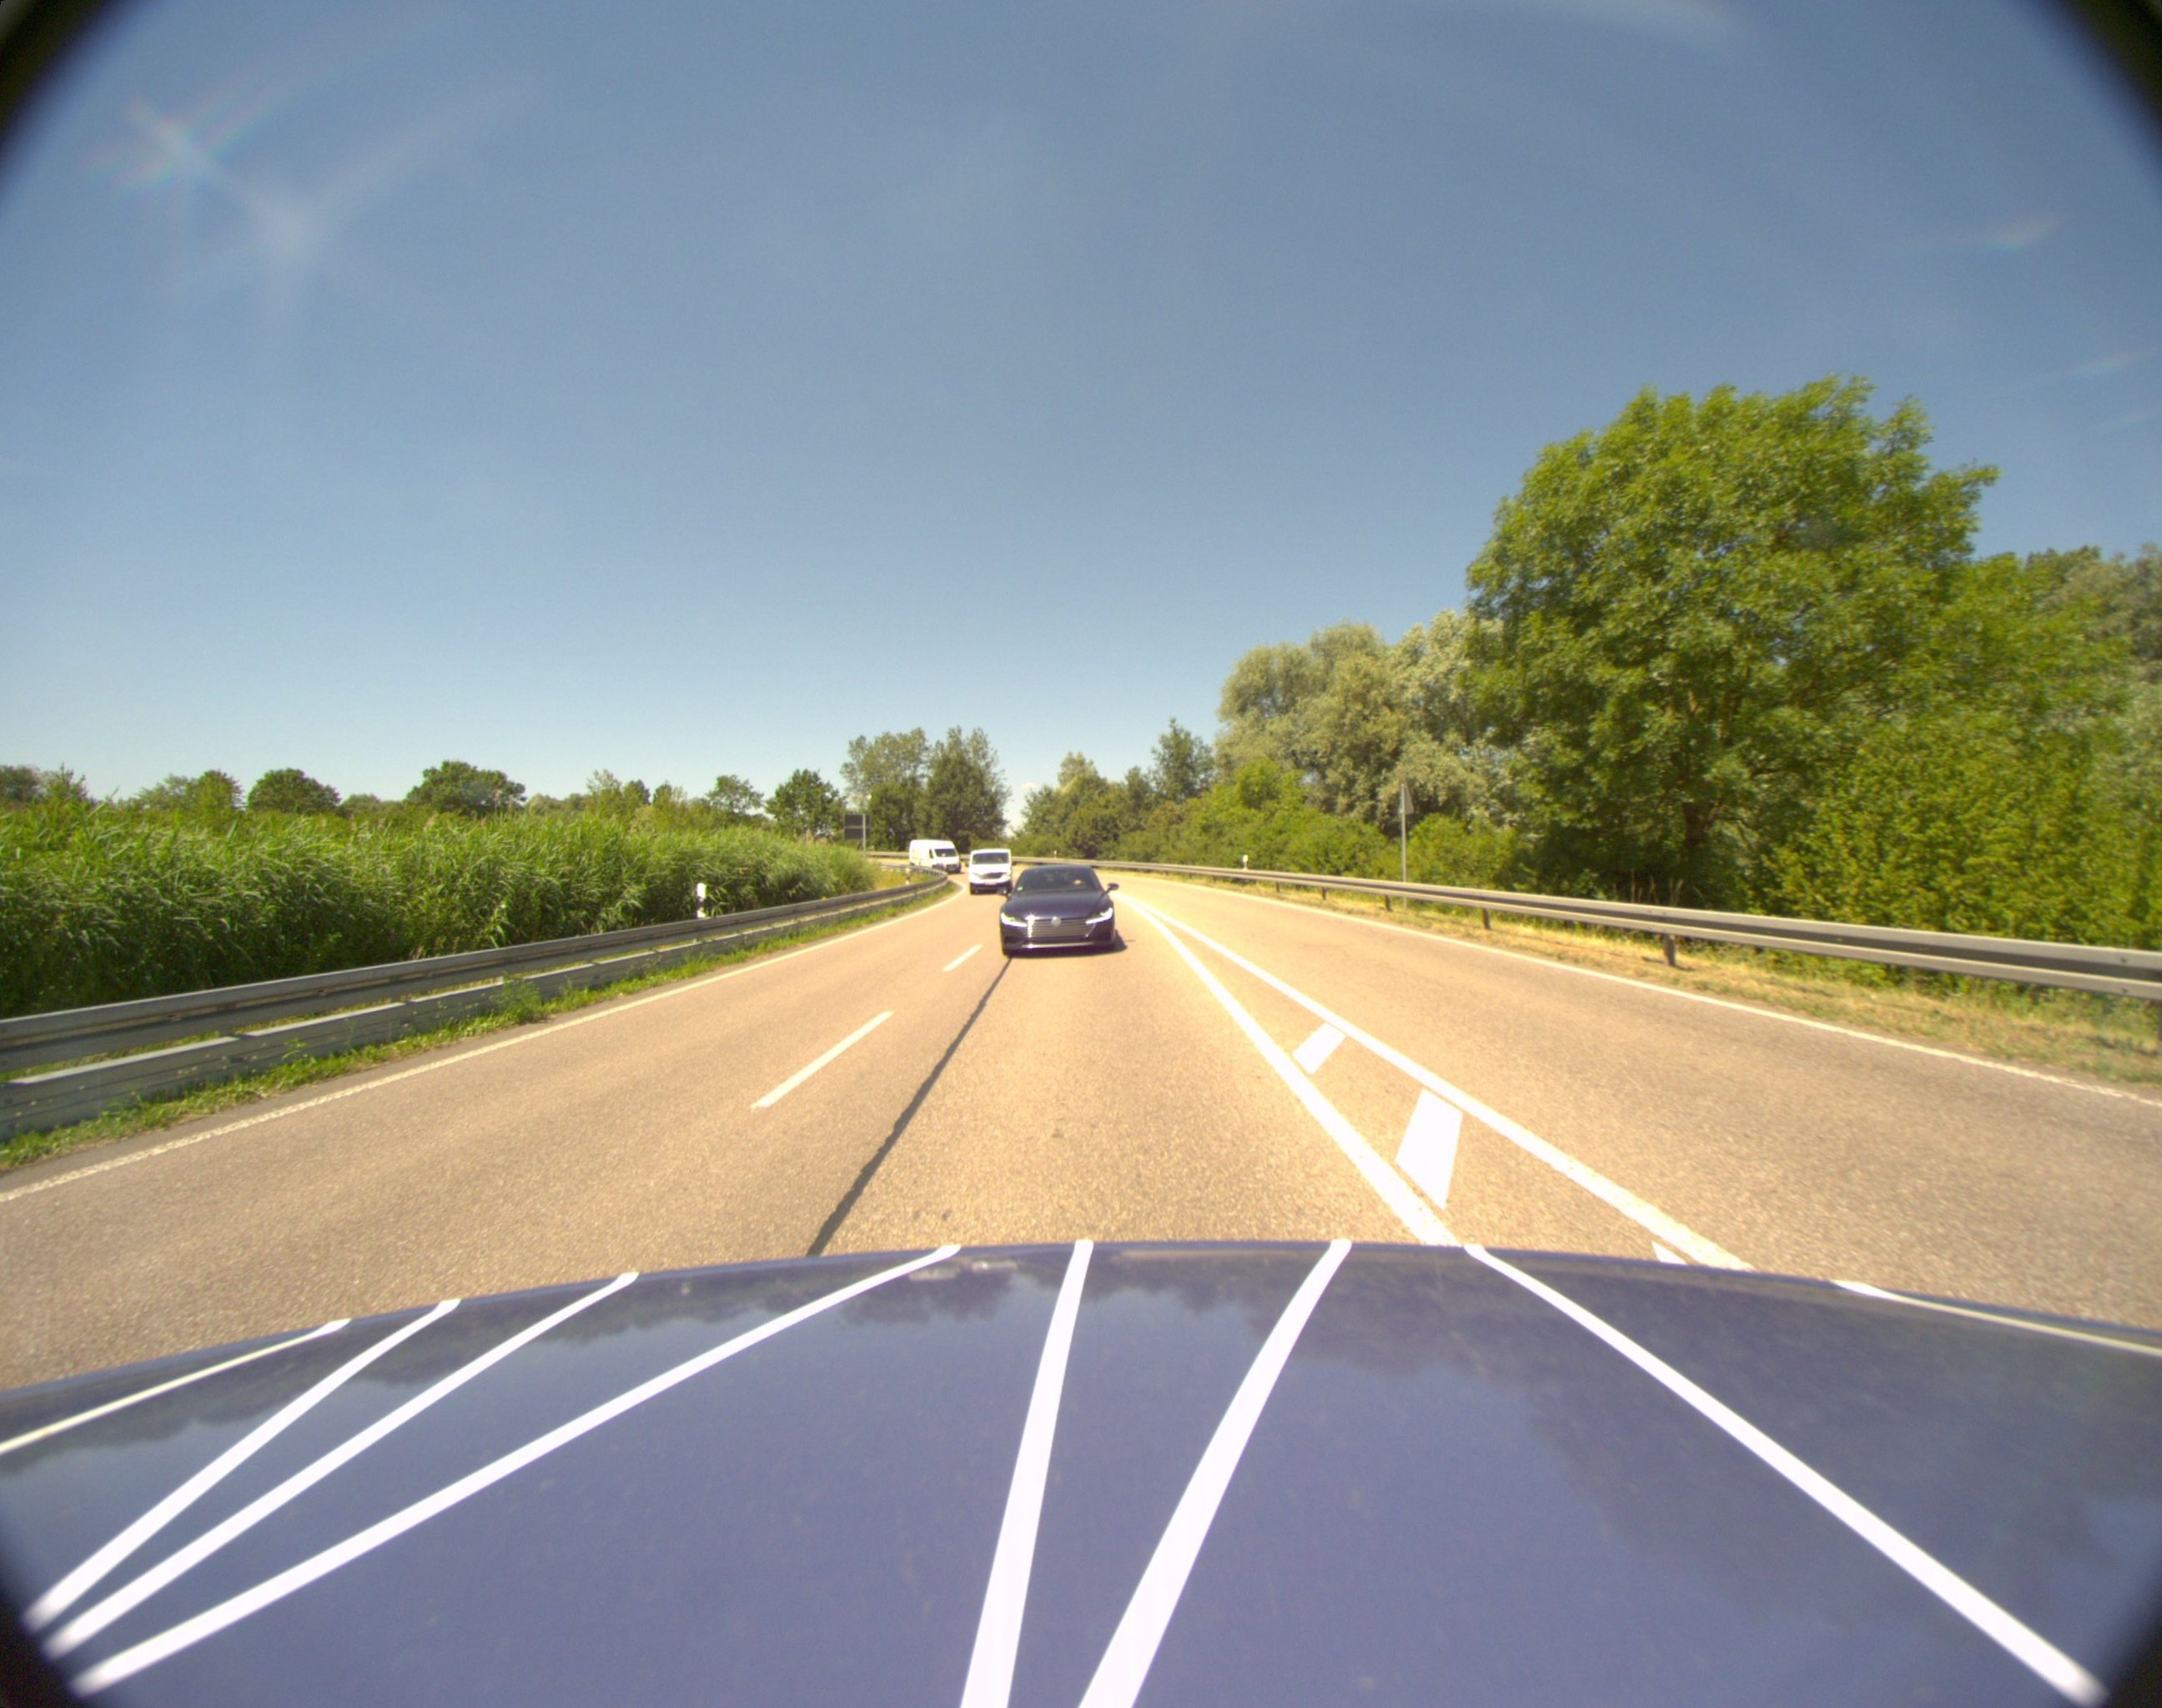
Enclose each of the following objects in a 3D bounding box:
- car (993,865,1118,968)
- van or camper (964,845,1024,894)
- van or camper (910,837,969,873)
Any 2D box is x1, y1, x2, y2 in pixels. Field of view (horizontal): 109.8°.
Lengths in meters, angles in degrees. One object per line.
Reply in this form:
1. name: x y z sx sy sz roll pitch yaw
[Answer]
1. car: -0.312 0.969 13.602 1.842 1.422 4.534 -1 0 2
2. van or camper: -3.952 0.667 35.315 2.008 2.019 5.448 -2 0 1
3. van or camper: -10.912 0.037 58.348 2.078 2.540 6.031 -4 3 -34
